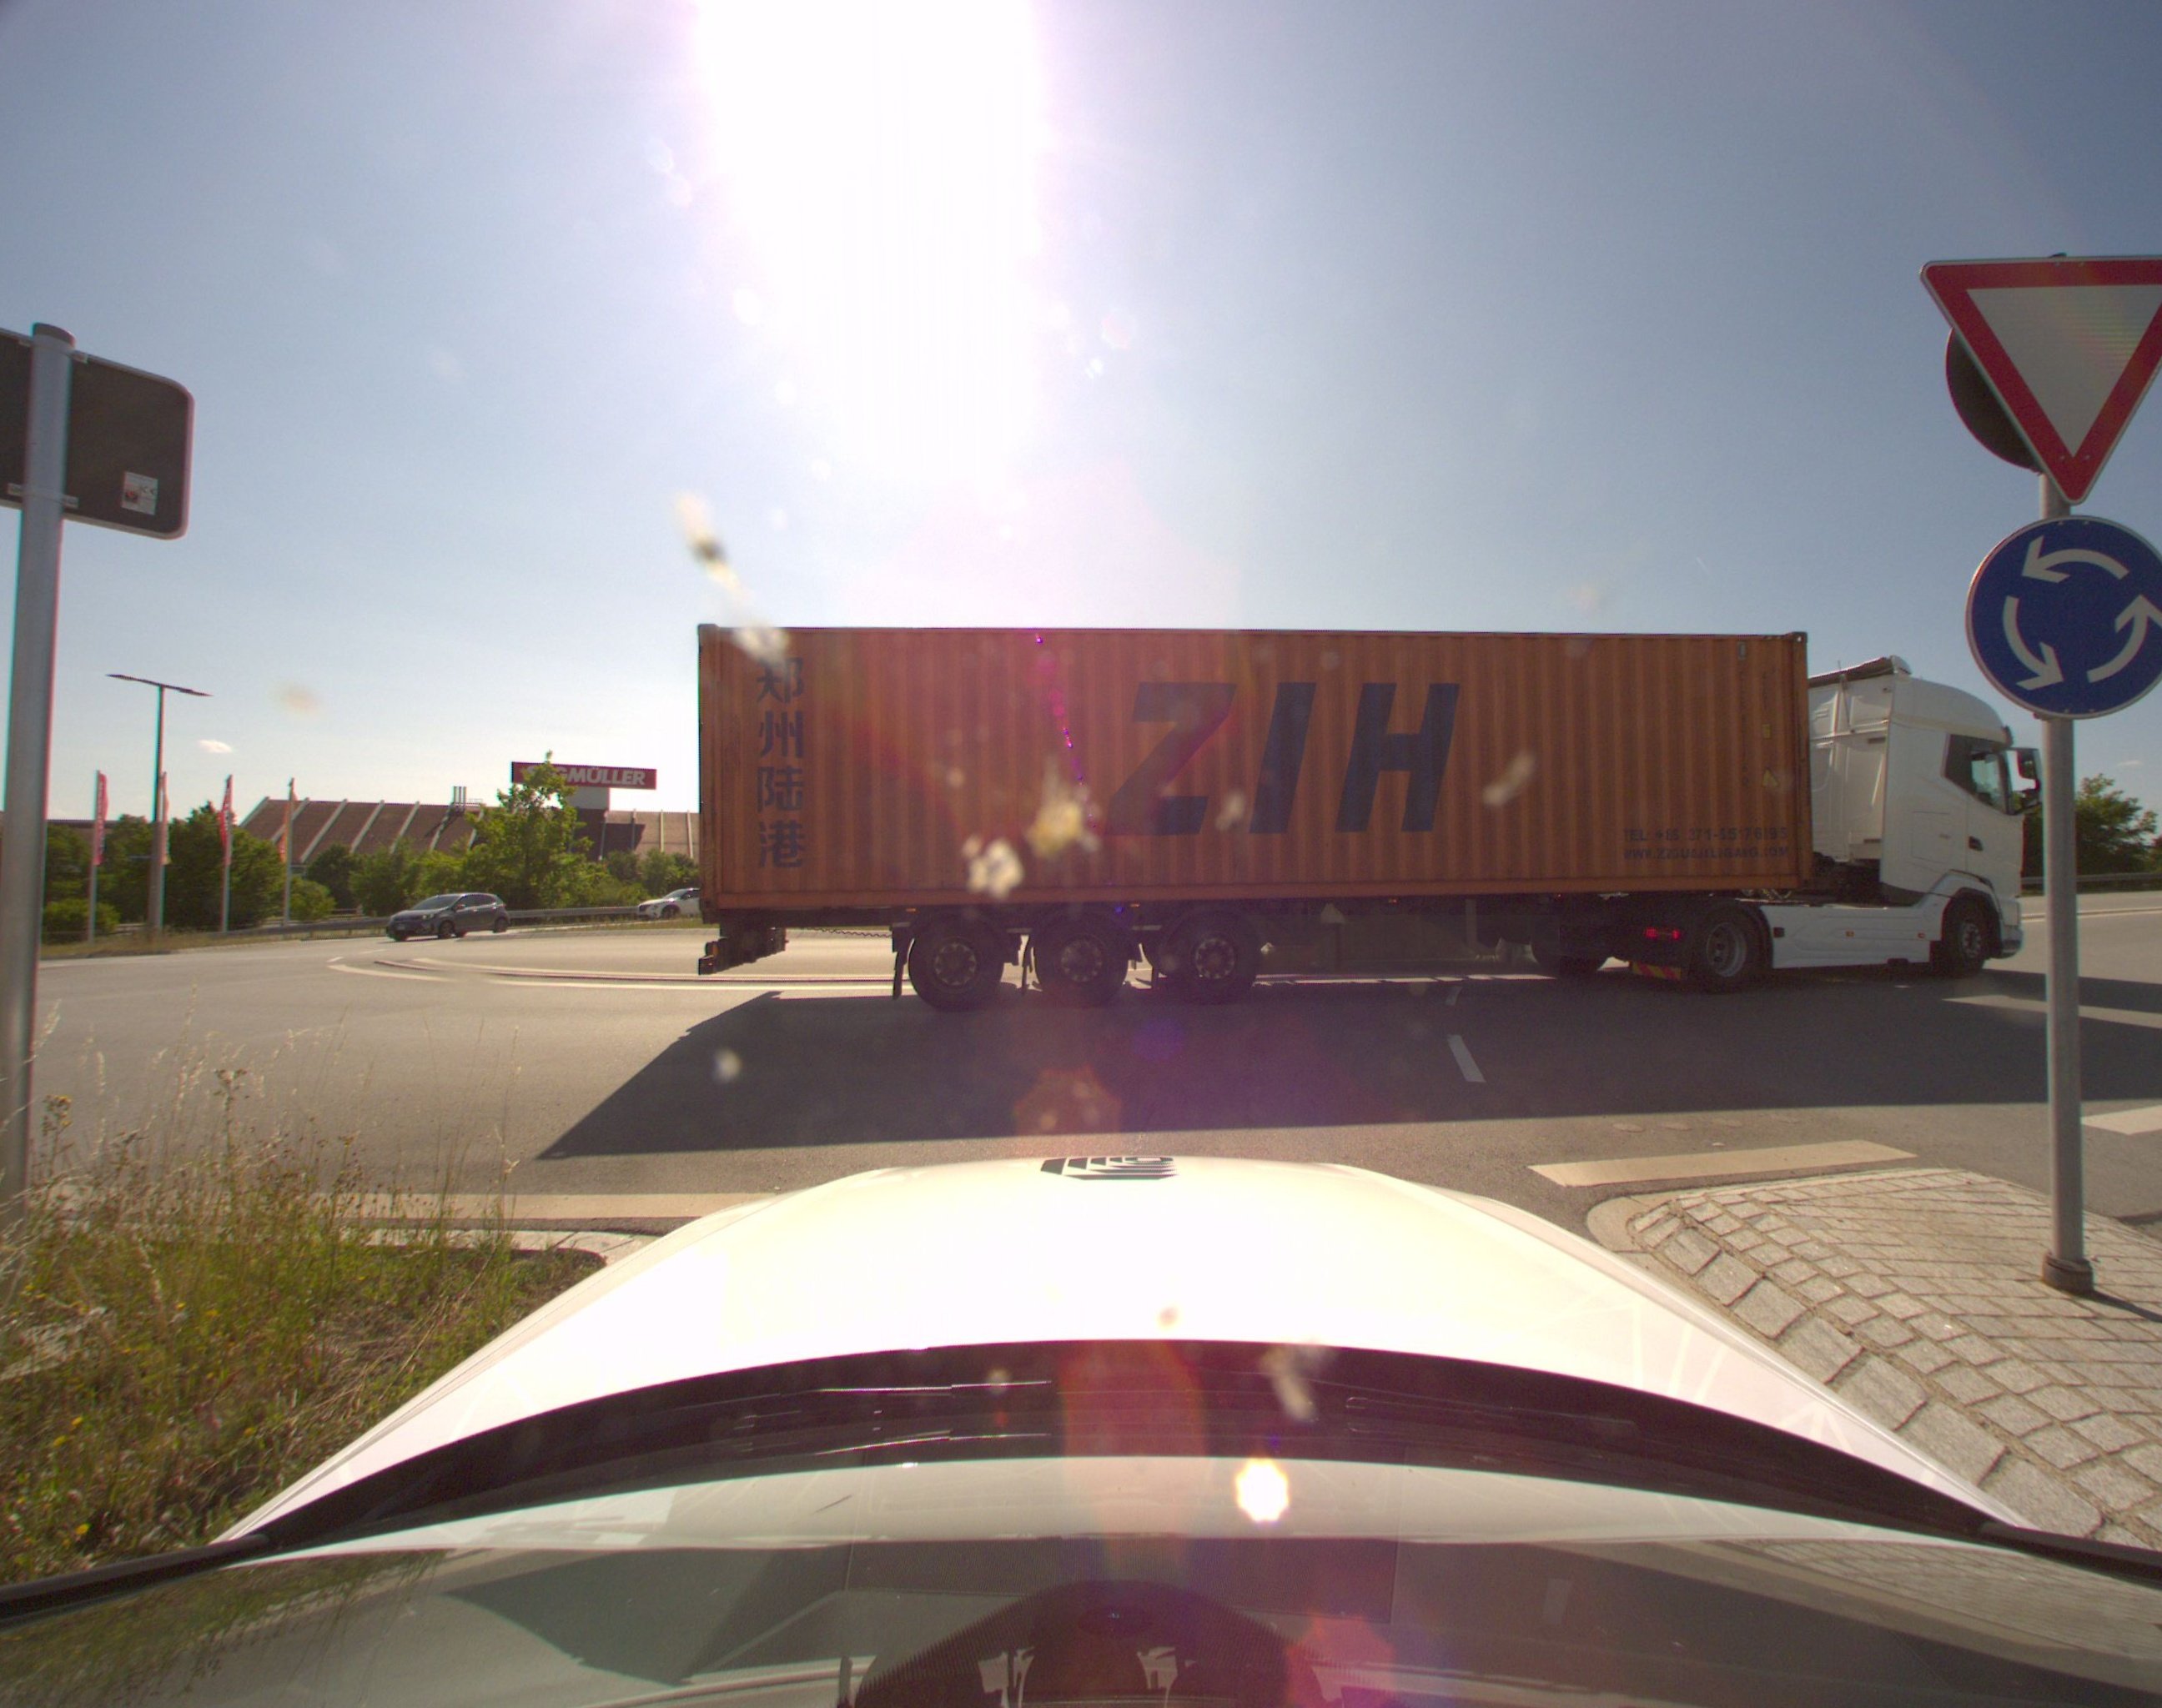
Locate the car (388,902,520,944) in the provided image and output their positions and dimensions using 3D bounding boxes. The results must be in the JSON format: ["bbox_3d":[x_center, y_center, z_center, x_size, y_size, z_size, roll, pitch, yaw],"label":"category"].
[{"bbox_3d":[-20.909,2.279,27.342,1.465,1.156,3.709,0,-1,2],"label":"car"}]

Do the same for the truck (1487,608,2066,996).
[{"bbox_3d":[9.044,-0.554,10.772,6.426,4.107,2.648,0,-1,-16],"label":"truck"}]

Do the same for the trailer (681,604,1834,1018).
[{"bbox_3d":[2.068,-0.505,9.863,12.295,4.154,2.557,-1,-1,-4],"label":"trailer"}]

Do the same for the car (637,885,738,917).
[{"bbox_3d":[-18.530,2.192,38.493,1.595,1.354,4.025,-1,-1,33],"label":"car"}]
